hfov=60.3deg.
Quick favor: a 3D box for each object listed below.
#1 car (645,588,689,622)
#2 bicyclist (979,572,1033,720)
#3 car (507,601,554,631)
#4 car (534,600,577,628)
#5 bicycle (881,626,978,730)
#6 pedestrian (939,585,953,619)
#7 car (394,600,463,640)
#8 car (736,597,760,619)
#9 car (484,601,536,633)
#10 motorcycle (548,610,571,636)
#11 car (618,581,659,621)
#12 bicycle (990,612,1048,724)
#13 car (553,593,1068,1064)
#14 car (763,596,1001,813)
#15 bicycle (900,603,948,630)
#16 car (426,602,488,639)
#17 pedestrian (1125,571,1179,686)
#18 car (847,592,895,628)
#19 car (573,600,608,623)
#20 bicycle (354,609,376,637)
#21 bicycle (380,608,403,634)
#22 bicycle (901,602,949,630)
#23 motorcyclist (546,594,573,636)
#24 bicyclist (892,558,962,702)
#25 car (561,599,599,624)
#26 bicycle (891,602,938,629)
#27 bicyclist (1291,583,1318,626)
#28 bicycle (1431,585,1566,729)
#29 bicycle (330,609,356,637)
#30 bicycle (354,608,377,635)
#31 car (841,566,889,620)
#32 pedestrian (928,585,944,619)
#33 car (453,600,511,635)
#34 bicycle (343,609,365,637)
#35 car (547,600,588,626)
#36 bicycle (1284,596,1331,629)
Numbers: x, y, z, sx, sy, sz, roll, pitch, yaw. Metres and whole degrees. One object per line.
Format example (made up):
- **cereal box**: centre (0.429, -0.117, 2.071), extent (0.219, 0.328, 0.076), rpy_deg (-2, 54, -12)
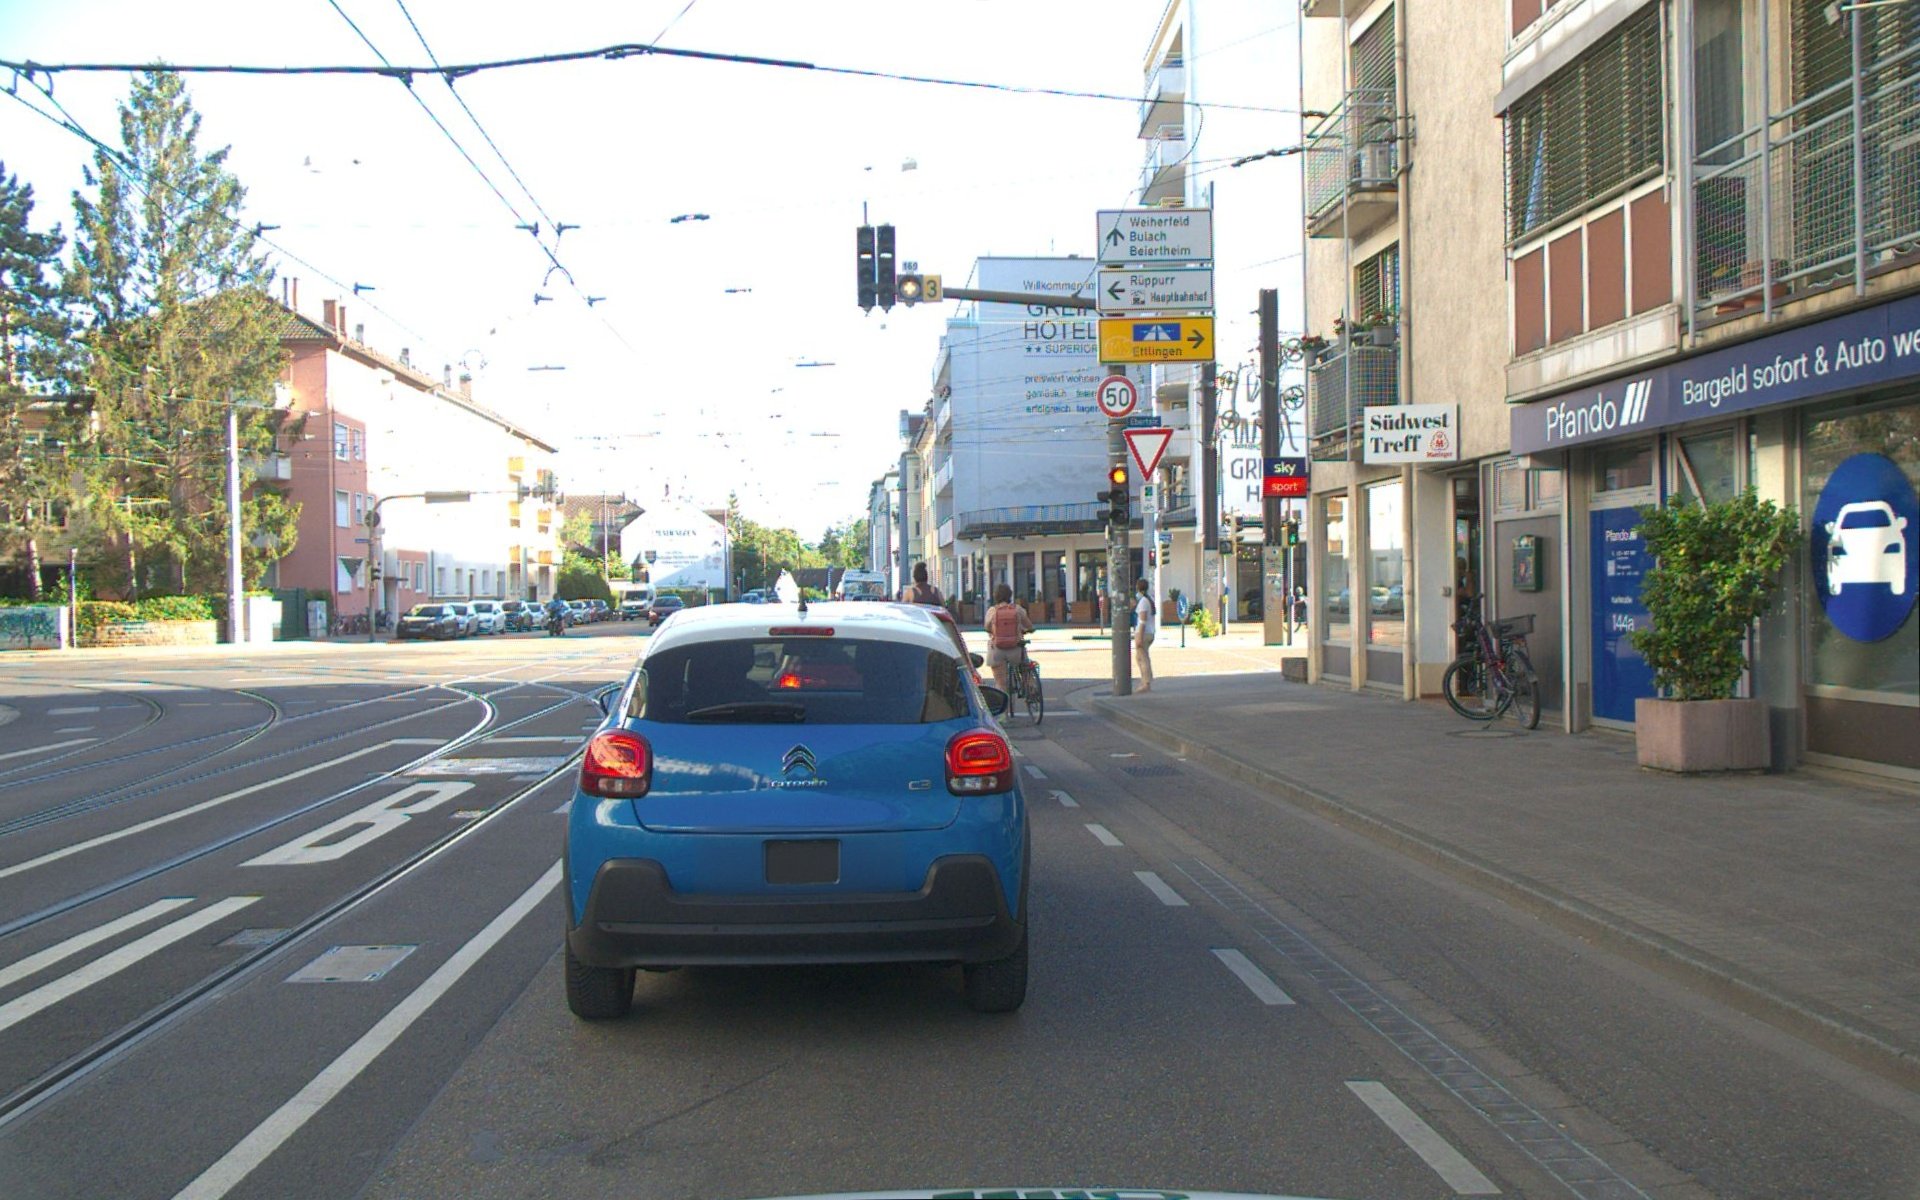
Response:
- **car**: centre (-15.148, 0.243, 85.804), extent (1.967, 1.656, 5.045), rpy_deg (-1, 0, -7)
- **bicyclist**: centre (0.565, 0.552, 20.589), extent (0.588, 1.776, 1.084), rpy_deg (-1, 0, -1)
- **car**: centre (-23.764, 0.857, 91.562), extent (1.913, 1.545, 3.995), rpy_deg (-1, 0, -6)
- **car**: centre (-23.934, 0.824, 97.987), extent (1.913, 1.545, 3.995), rpy_deg (-1, 0, -6)
- **bicycle**: centre (-0.387, 0.894, 19.562), extent (0.607, 1.123, 1.876), rpy_deg (-1, 0, -18)
- **pedestrian**: centre (-0.586, 0.085, 69.987), extent (0.459, 1.445, 0.525), rpy_deg (-1, 0, -13)
- **car**: centre (-22.015, 0.792, 68.645), extent (1.913, 1.545, 3.995), rpy_deg (-1, 0, -6)
- **car**: centre (-21.809, 0.811, 170.487), extent (2.293, 2.074, 5.044), rpy_deg (-1, 0, -6)
- **car**: centre (-23.234, 0.841, 85.513), extent (1.913, 1.545, 3.995), rpy_deg (-1, 0, -6)
- **motorcycle**: centre (-16.226, 0.940, 67.015), extent (0.738, 0.993, 2.092), rpy_deg (-1, 0, -9)
- **car**: centre (-23.223, 0.069, 119.571), extent (2.446, 2.759, 5.828), rpy_deg (-1, 0, -7)
- **bicycle**: centre (0.719, 0.814, 20.630), extent (0.601, 1.286, 1.910), rpy_deg (-1, 0, -1)
- **car**: centre (-0.615, 0.731, 7.344), extent (1.647, 1.488, 3.997), rpy_deg (1, 0, -4)
- **car**: centre (-0.682, 0.727, 13.552), extent (1.647, 1.488, 3.997), rpy_deg (1, 0, -4)
- **bicycle**: centre (-1.447, 0.665, 67.078), extent (1.868, 1.083, 0.641), rpy_deg (-1, 0, -8)
- **car**: centre (-22.554, 0.877, 74.250), extent (1.913, 1.545, 4.040), rpy_deg (-1, 0, -6)
- **pedestrian**: centre (2.817, 0.413, 24.336), extent (0.735, 1.663, 0.740), rpy_deg (-1, 0, 5)
- **car**: centre (-3.677, 0.384, 67.733), extent (1.752, 1.383, 3.909), rpy_deg (-1, 0, -6)
- **car**: centre (-25.566, 0.790, 114.588), extent (1.913, 1.545, 3.995), rpy_deg (-1, 0, -6)
- **bicycle**: centre (-24.231, 0.937, 67.410), extent (0.527, 1.101, 1.905), rpy_deg (-1, 0, -11)
- **bicycle**: centre (-25.673, 0.942, 74.687), extent (0.597, 1.101, 1.908), rpy_deg (-1, 0, -7)
- **bicycle**: centre (-1.394, 0.640, 65.773), extent (1.868, 1.083, 0.641), rpy_deg (-1, 0, -8)
- **motorcyclist**: centre (-16.206, 0.608, 66.947), extent (0.973, 1.659, 0.737), rpy_deg (-1, 0, -10)
- **bicyclist**: centre (-0.390, 0.346, 19.544), extent (0.607, 1.658, 0.756), rpy_deg (-1, 0, -19)
- **car**: centre (-24.850, 0.751, 108.257), extent (1.913, 1.545, 3.995), rpy_deg (-1, 0, -6)
- **bicycle**: centre (-1.861, 0.643, 68.264), extent (1.868, 1.083, 0.641), rpy_deg (-1, 0, -8)
- **bicyclist**: centre (11.920, 0.144, 57.193), extent (0.715, 1.459, 0.603), rpy_deg (-1, 0, 37)
- **bicycle**: centre (5.110, 0.505, 15.812), extent (0.627, 1.286, 1.910), rpy_deg (-1, 0, -1)
- **bicycle**: centre (-24.983, 0.919, 66.985), extent (0.628, 1.101, 1.905), rpy_deg (-1, 0, -11)
- **bicycle**: centre (-25.875, 0.928, 71.981), extent (0.527, 1.101, 1.908), rpy_deg (-1, 0, -7)
- **car**: centre (-4.232, -0.317, 73.172), extent (2.039, 2.309, 5.646), rpy_deg (0, 0, -4)
- **pedestrian**: centre (-1.011, 0.090, 70.231), extent (0.514, 1.445, 0.547), rpy_deg (-1, 0, 19)
- **car**: centre (-22.756, 0.821, 78.856), extent (1.913, 1.545, 3.995), rpy_deg (-1, 0, -6)
- **bicycle**: centre (-24.589, 0.929, 67.111), extent (0.527, 1.101, 1.905), rpy_deg (-1, 0, -11)
- **car**: centre (-24.408, 0.809, 102.984), extent (1.913, 1.545, 3.995), rpy_deg (-1, 0, -6)
- **bicycle**: centre (11.995, 0.436, 57.153), extent (1.464, 1.110, 0.603), rpy_deg (-1, 0, 37)
